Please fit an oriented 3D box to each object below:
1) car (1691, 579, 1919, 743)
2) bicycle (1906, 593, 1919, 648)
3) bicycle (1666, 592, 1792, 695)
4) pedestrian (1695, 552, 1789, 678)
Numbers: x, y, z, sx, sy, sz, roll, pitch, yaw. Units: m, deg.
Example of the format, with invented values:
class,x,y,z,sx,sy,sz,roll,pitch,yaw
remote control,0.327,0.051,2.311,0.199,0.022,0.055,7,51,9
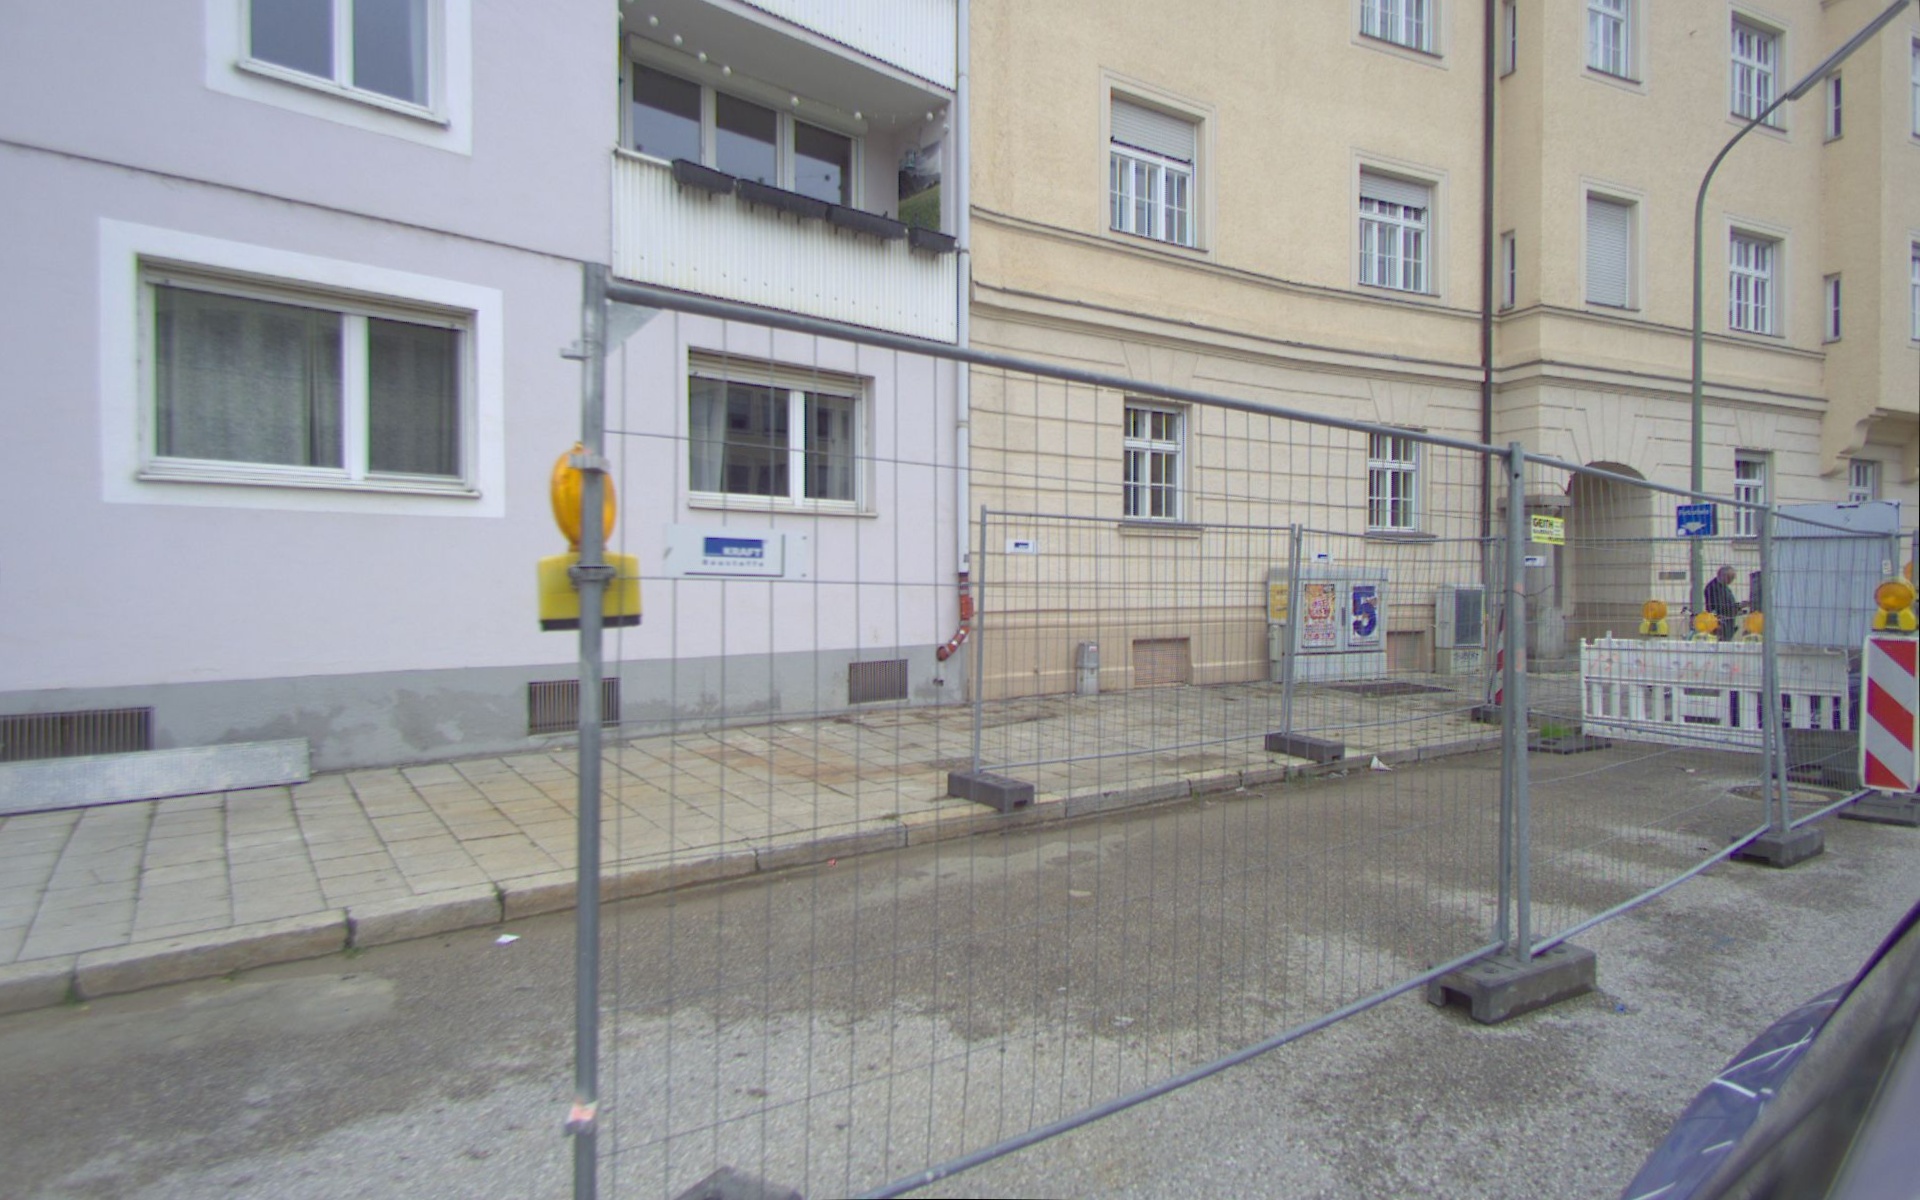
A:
class,x,y,z,sx,sy,sz,roll,pitch,yaw
car,10.457,0.556,11.197,4.846,1.496,1.917,0,0,-28
bicycle,19.793,0.404,20.167,2.093,1.061,0.505,0,3,-23
bicycle,10.103,0.538,13.288,1.636,1.274,0.640,-1,0,-25
pedestrian,11.106,0.192,14.377,0.900,1.710,0.621,0,4,-24
